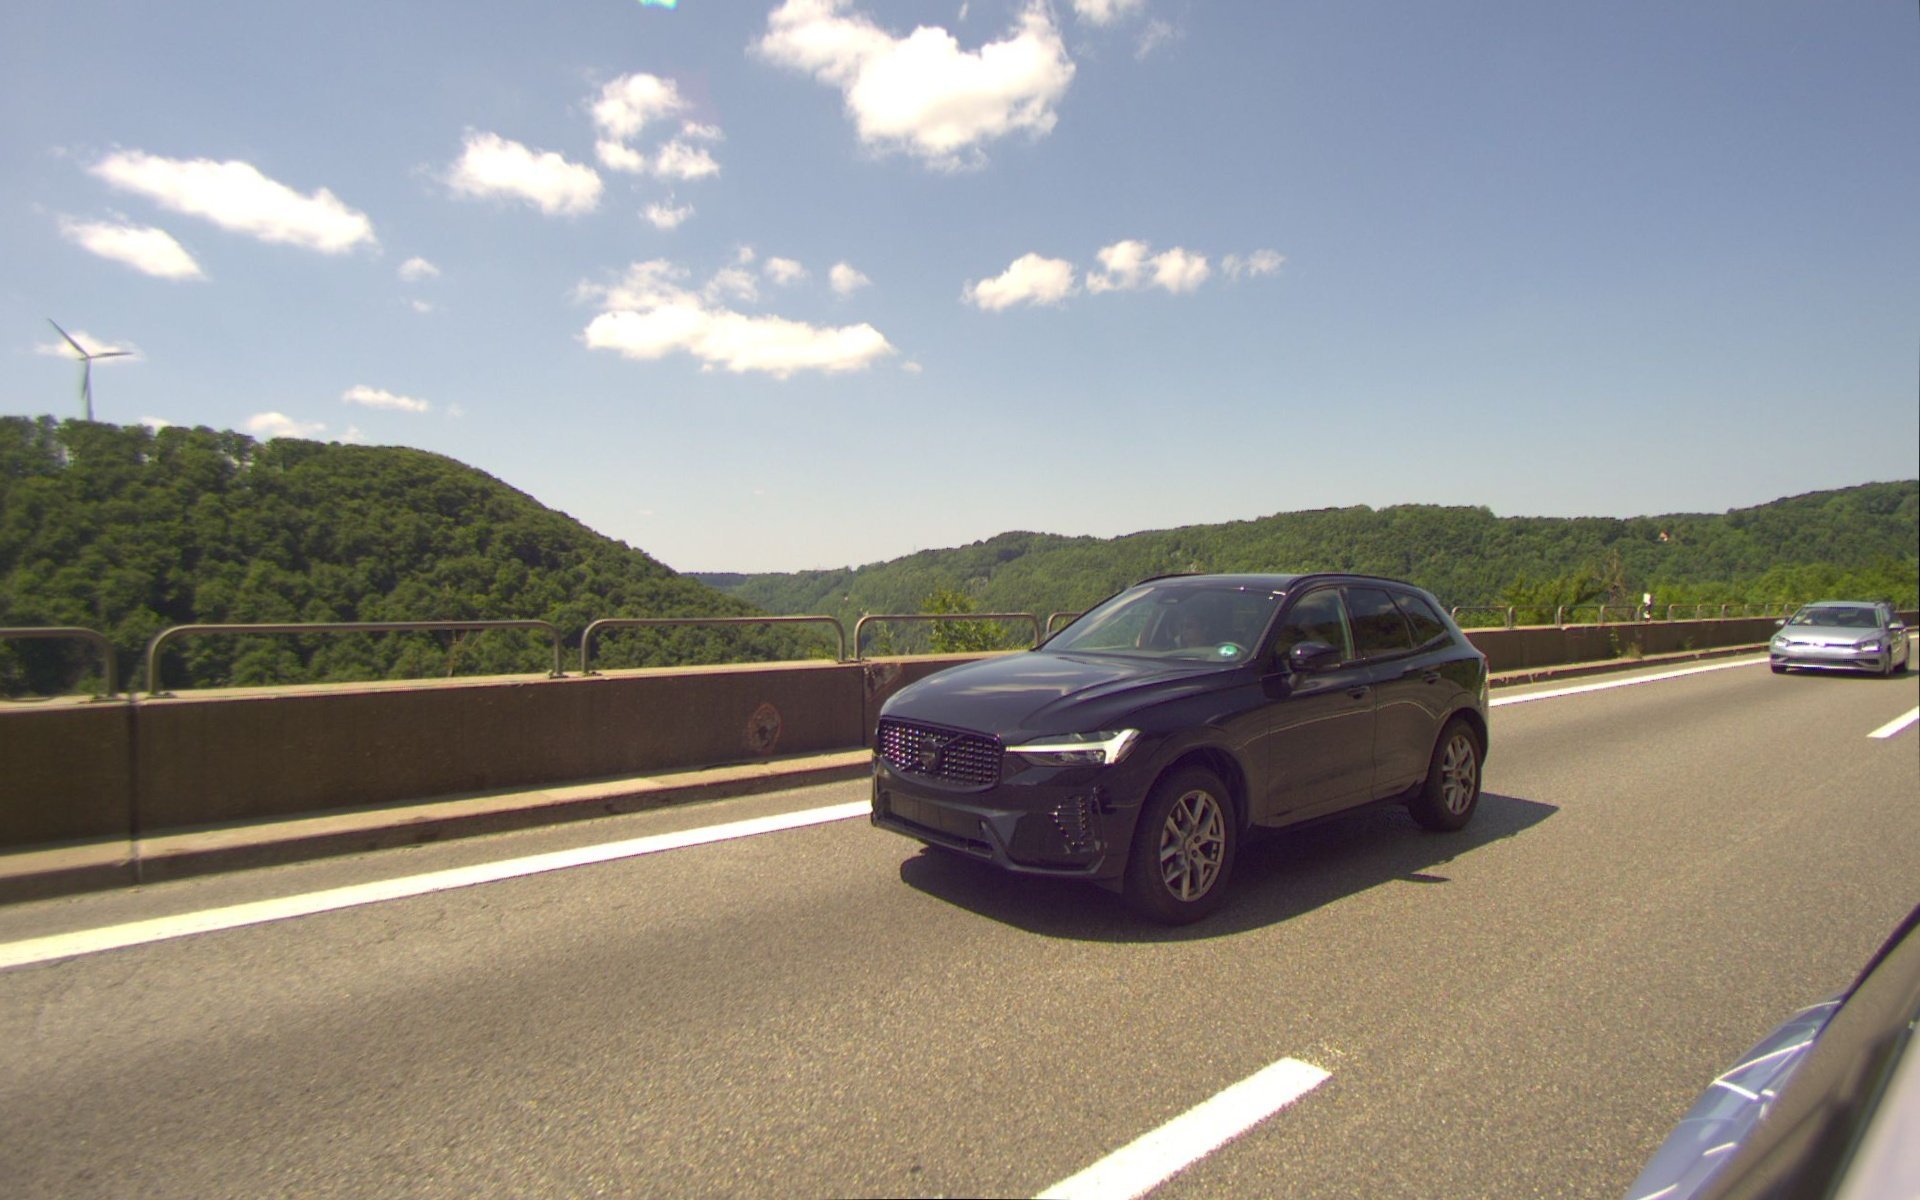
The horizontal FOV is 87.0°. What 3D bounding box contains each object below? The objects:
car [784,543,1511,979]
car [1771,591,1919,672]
[{"bbox_3d":[1.411,0.588,6.052,4.581,1.654,1.838,-1,0,-41],"label":"car"},{"bbox_3d":[18.012,0.555,20.405,4.221,1.395,1.970,-1,2,-42],"label":"car"}]
